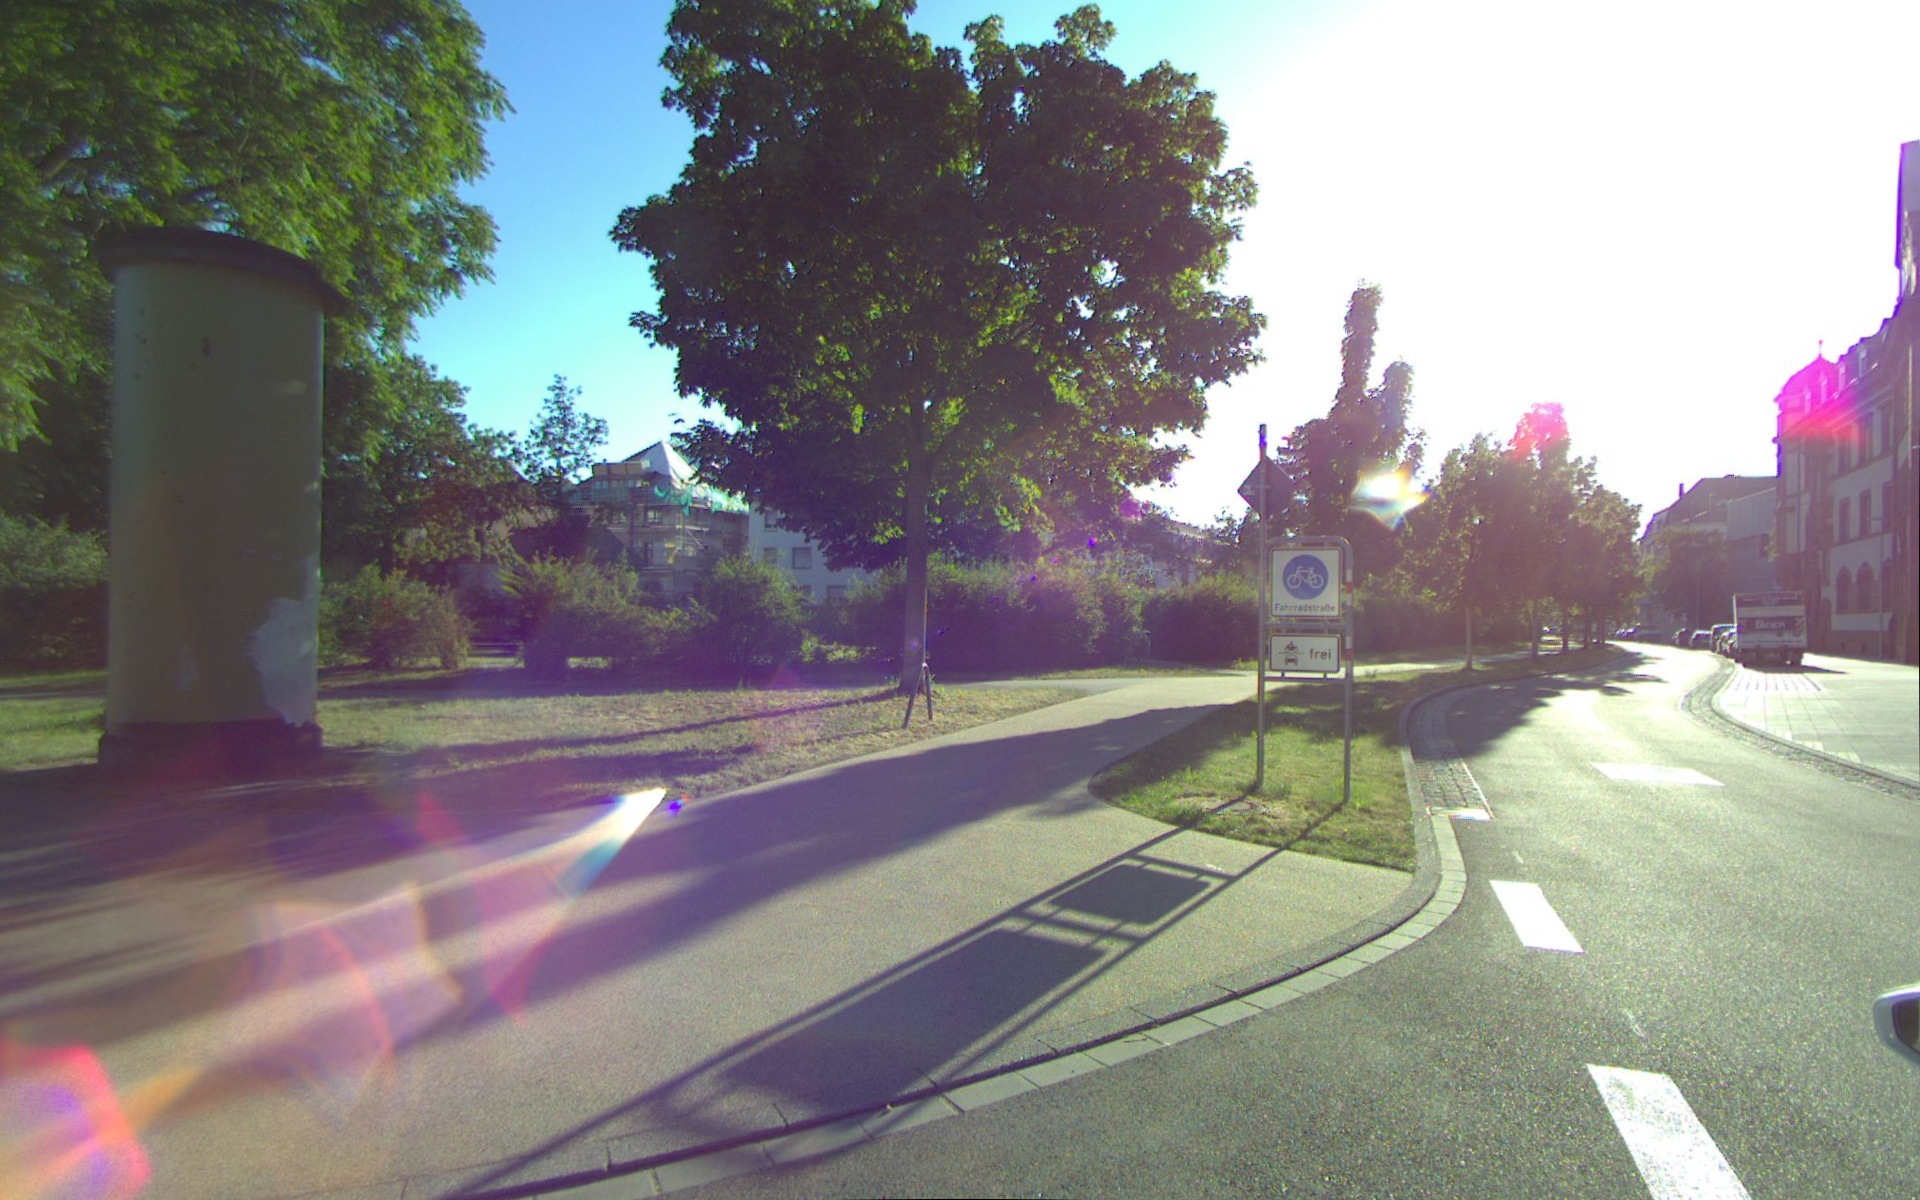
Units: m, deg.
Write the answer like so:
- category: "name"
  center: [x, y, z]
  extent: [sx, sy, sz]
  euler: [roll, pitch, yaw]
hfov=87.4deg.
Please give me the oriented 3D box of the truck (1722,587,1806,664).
- category: "truck"
  center: [35.588, 1.110, 44.648]
  extent: [2.589, 3.162, 6.066]
  euler: [0, -1, 36]

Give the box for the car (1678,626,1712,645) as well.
- category: "car"
  center: [61.858, 2.966, 84.555]
  extent: [1.721, 1.486, 4.470]
  euler: [1, -1, 29]

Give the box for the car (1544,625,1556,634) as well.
- category: "car"
  center: [117.742, 5.914, 200.379]
  extent: [1.766, 1.747, 3.995]
  euler: [-1, -2, 27]

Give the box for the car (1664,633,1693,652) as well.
- category: "car"
  center: [66.832, 3.916, 93.499]
  extent: [1.699, 1.691, 4.107]
  euler: [-1, -2, 29]

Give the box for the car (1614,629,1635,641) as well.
- category: "car"
  center: [85.560, 4.528, 129.343]
  extent: [1.664, 1.459, 3.548]
  euler: [-1, -2, 25]

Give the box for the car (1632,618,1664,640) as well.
- category: "car"
  center: [81.431, 3.412, 118.998]
  extent: [2.178, 2.563, 6.140]
  euler: [-2, -2, 27]

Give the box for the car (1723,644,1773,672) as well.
- category: "car"
  center: [44.708, 3.249, 57.081]
  extent: [1.846, 1.455, 4.510]
  euler: [-2, -2, 33]

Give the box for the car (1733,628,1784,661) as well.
- category: "car"
  center: [38.978, 2.171, 49.130]
  extent: [1.746, 1.550, 4.555]
  euler: [-2, -3, 37]

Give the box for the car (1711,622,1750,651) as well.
- category: "car"
  center: [56.562, 2.728, 73.812]
  extent: [1.968, 1.991, 4.834]
  euler: [-4, -4, 35]
